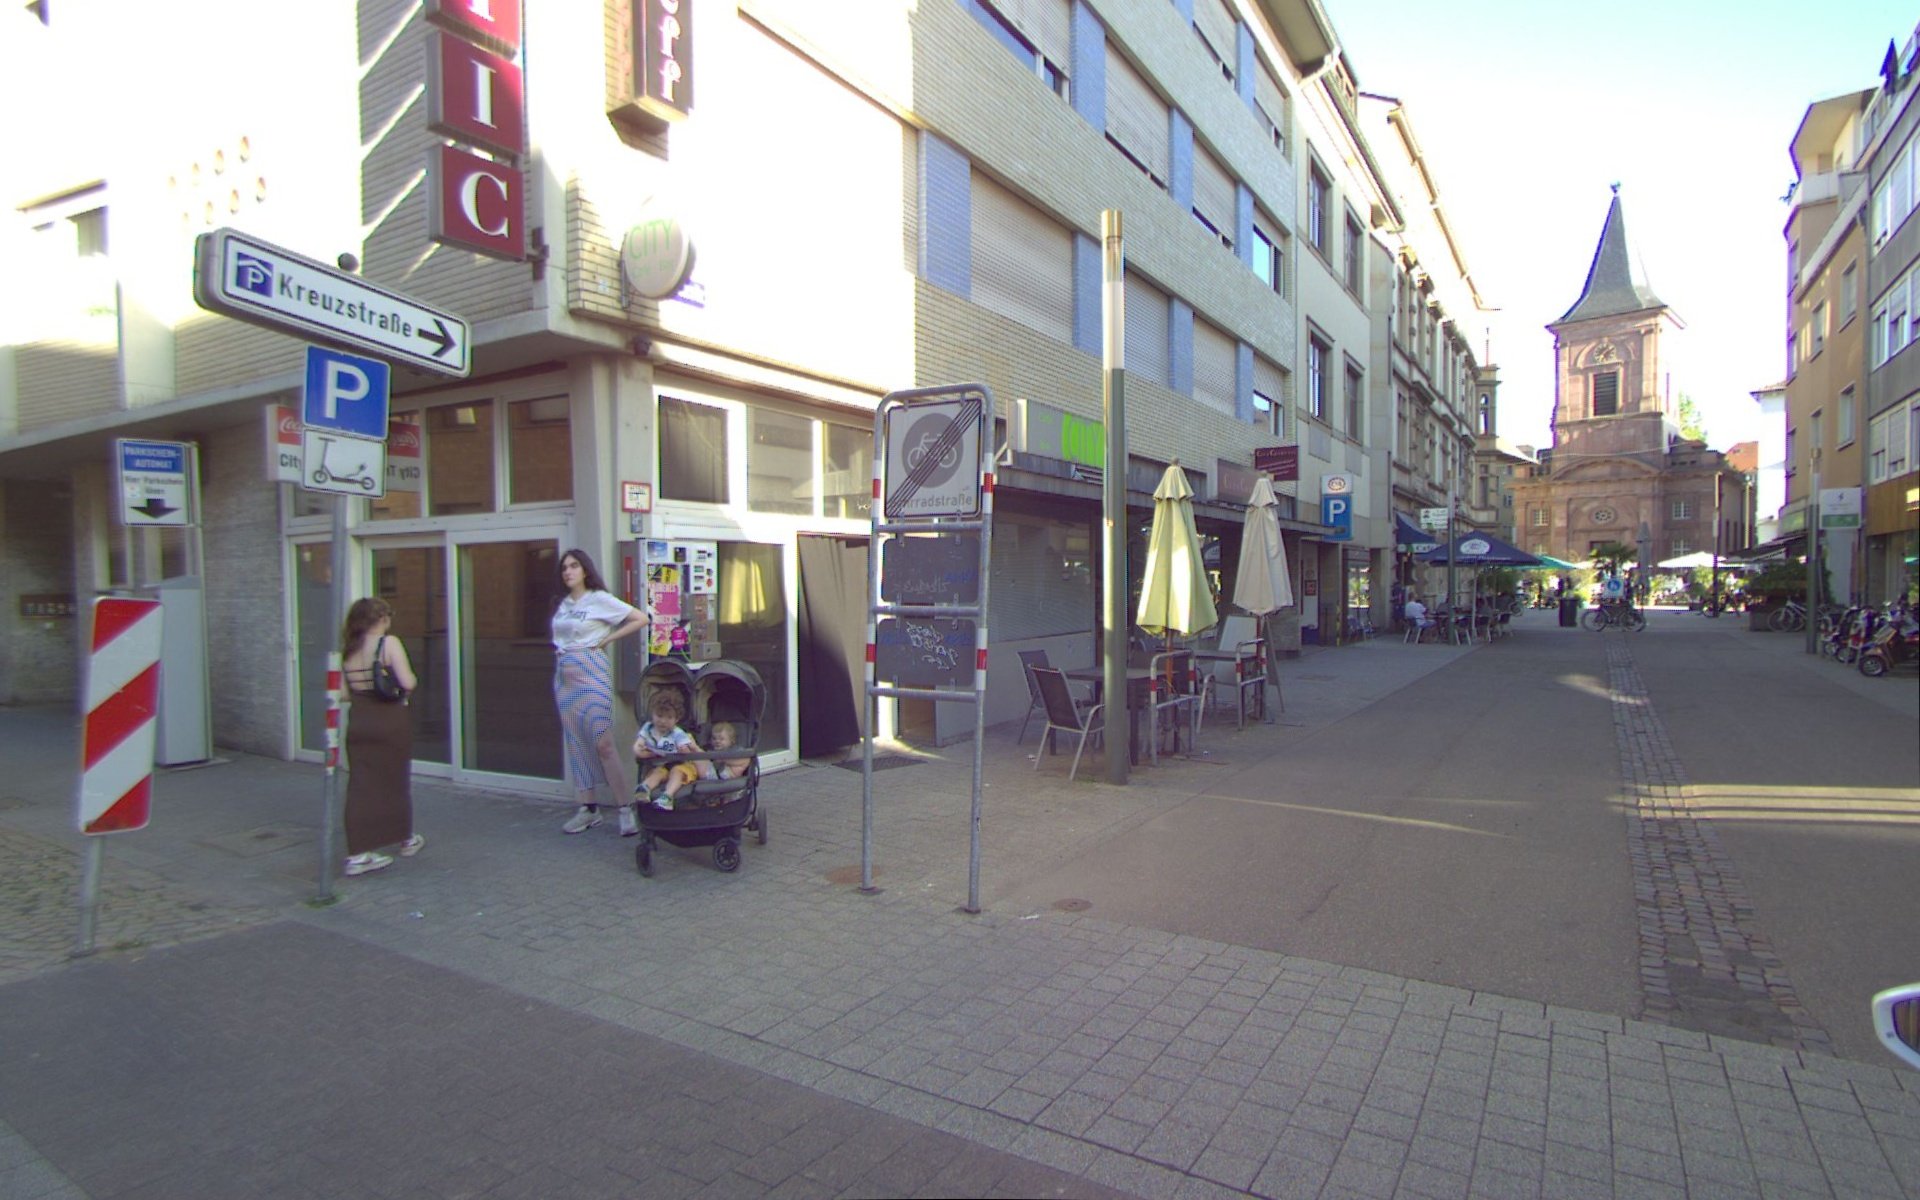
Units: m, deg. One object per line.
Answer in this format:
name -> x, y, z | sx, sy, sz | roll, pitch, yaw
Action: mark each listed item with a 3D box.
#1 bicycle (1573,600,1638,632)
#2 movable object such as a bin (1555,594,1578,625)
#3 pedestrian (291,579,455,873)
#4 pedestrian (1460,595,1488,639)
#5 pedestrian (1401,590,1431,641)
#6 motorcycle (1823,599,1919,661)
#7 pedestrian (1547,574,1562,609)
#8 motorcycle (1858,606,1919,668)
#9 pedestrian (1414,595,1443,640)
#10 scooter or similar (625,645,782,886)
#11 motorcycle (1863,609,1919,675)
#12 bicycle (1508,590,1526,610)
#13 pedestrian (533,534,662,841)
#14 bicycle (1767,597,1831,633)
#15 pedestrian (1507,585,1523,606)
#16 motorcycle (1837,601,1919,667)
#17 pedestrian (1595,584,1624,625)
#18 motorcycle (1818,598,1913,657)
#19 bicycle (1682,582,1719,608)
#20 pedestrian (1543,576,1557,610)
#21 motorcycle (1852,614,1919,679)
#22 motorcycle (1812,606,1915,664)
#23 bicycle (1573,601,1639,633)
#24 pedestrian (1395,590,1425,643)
bicycle -> 21.522, 0.519, 33.517 | 1.797, 1.018, 0.380 | 0, 1, 30
movable object such as a bin -> 22.125, 0.342, 36.624 | 0.711, 1.089, 0.373 | 0, 1, 32
pedestrian -> -3.368, 0.695, 5.794 | 0.523, 1.601, 0.511 | -1, 3, 14
pedestrian -> 14.896, 0.487, 29.124 | 0.681, 1.231, 0.582 | 0, 1, 25
pedestrian -> 12.599, 0.410, 27.789 | 0.706, 1.386, 0.710 | 0, 1, 21
motorcycle -> 18.406, 0.585, 20.270 | 0.409, 1.197, 1.470 | -1, 1, -41
pedestrian -> 31.406, -0.429, 53.074 | 0.606, 1.833, 0.614 | 1, 2, 29
motorcycle -> 17.039, 0.659, 17.915 | 0.408, 1.090, 1.472 | -1, 1, -38
pedestrian -> 13.615, 0.497, 29.217 | 0.753, 1.249, 0.830 | 0, 1, 25
scooter or similar -> -1.459, 0.881, 5.738 | 0.786, 1.159, 0.951 | -1, 2, -15
motorcycle -> 16.389, 0.713, 17.074 | 0.408, 1.090, 1.504 | -1, 1, -38
bicycle -> 25.206, -0.004, 45.457 | 0.451, 0.861, 2.138 | 1, 1, 36
pedestrian -> -2.312, 0.518, 6.426 | 0.650, 1.844, 0.568 | -3, 3, -21
bicycle -> 25.175, 0.440, 30.170 | 1.446, 1.018, 0.570 | 1, 2, 40
pedestrian -> 31.955, -0.267, 57.828 | 0.692, 1.234, 0.716 | 1, 2, 39
motorcycle -> 17.587, 0.625, 18.873 | 0.476, 1.191, 1.612 | -1, 1, -38
pedestrian -> 23.815, 0.172, 36.846 | 0.871, 1.484, 0.728 | 1, 1, 34
motorcycle -> 19.111, 0.566, 21.222 | 0.409, 1.197, 1.470 | -1, 1, -41
bicycle -> 38.741, -0.253, 52.550 | 1.559, 1.325, 0.366 | 0, 1, 4
pedestrian -> 31.585, -0.371, 53.770 | 0.606, 1.833, 0.614 | 1, 2, 29
motorcycle -> 15.782, 0.768, 16.571 | 0.369, 1.055, 1.552 | -1, 1, -38
motorcycle -> 17.791, 0.672, 19.801 | 0.408, 1.090, 1.472 | -1, 1, -38
bicycle -> 21.314, 0.551, 33.170 | 1.797, 1.018, 0.380 | 0, 1, 30
pedestrian -> 12.062, 0.433, 26.933 | 0.696, 1.386, 0.719 | 0, 1, 21
